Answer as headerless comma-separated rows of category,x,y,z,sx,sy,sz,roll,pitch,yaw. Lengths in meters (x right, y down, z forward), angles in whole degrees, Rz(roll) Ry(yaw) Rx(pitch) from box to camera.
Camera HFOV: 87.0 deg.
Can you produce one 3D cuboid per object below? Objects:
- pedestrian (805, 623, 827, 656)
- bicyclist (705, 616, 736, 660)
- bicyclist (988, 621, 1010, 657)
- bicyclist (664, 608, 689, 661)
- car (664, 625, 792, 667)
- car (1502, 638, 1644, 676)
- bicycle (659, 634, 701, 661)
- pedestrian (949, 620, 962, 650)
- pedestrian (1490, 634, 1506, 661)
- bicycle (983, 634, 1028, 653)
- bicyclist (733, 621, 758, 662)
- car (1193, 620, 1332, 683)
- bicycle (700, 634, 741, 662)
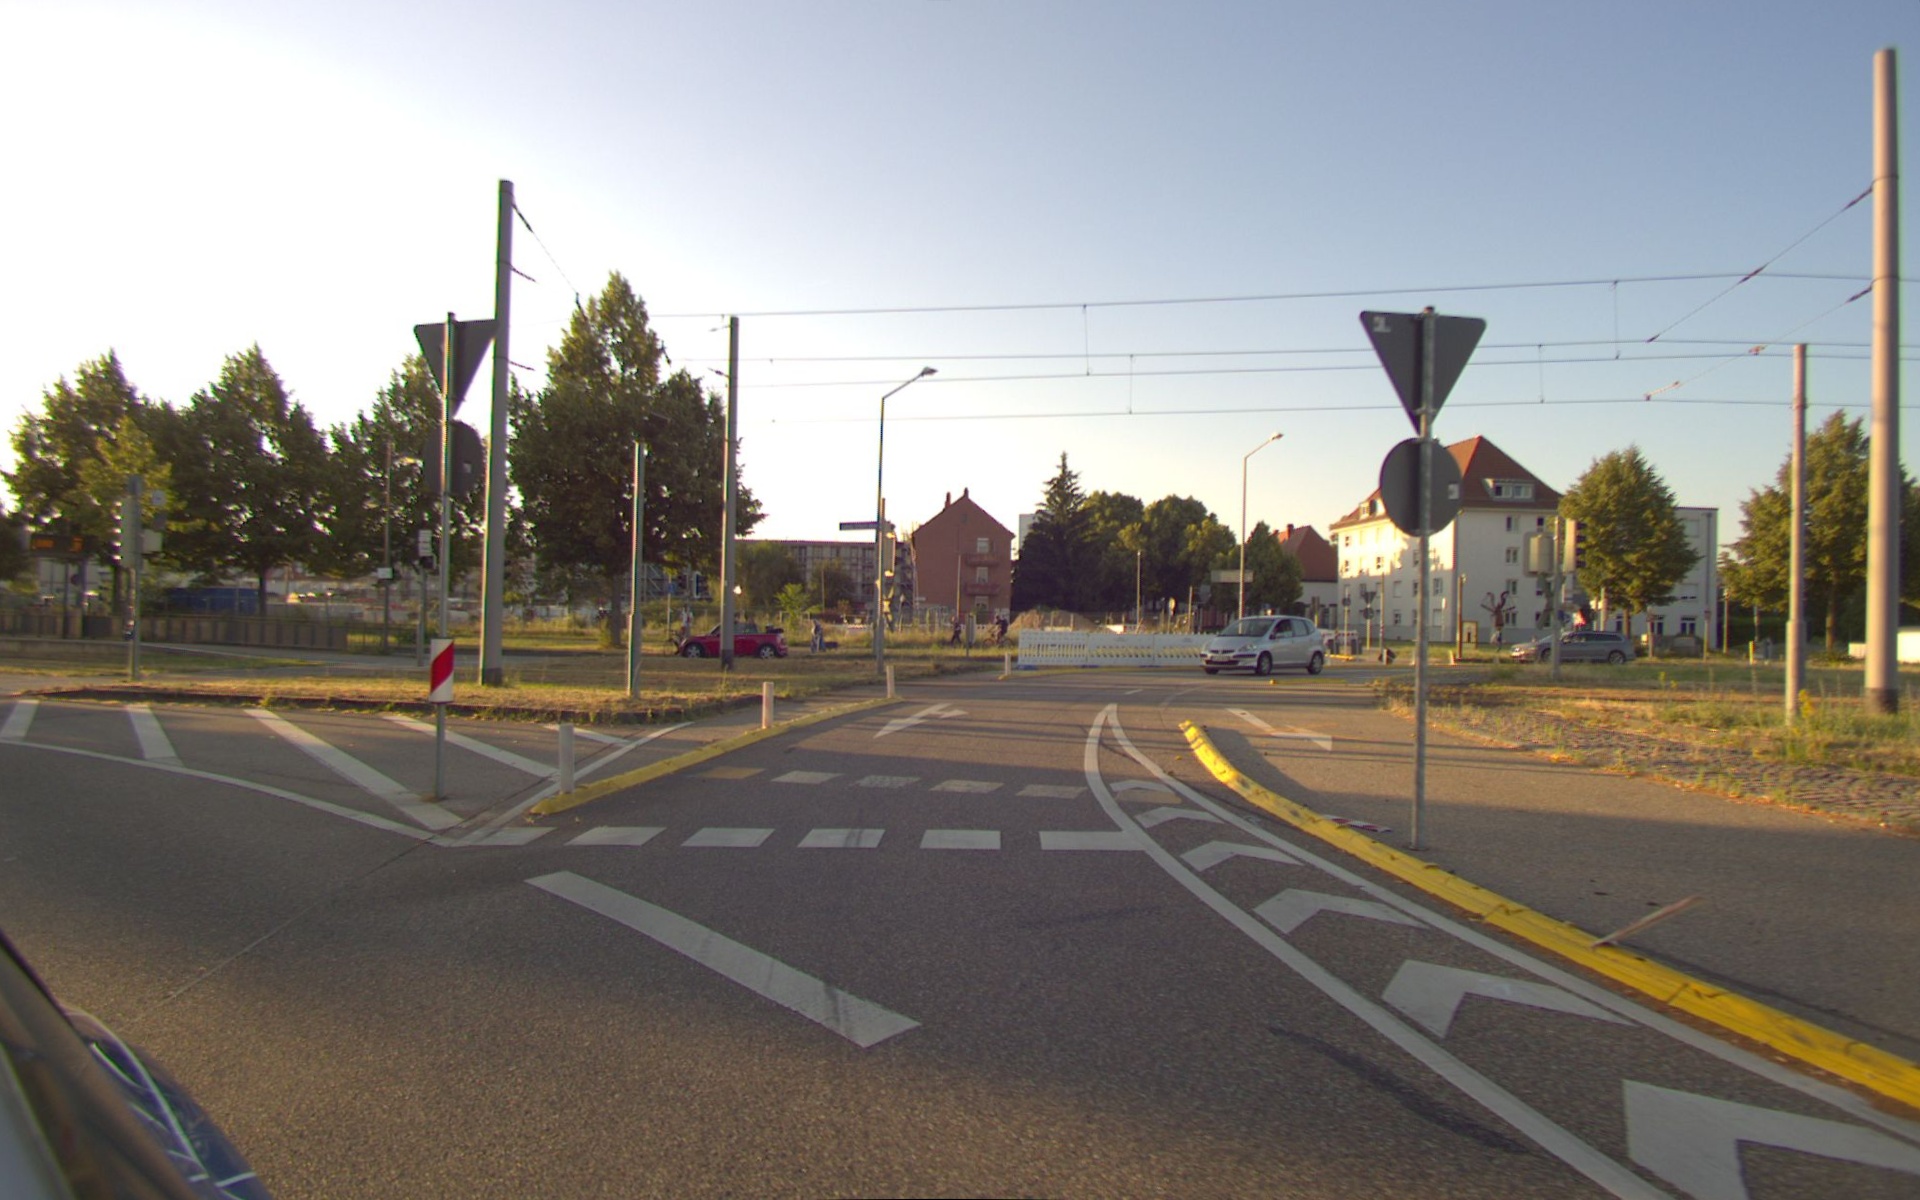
pedestrian,-6.178,1.699,43.402,0.690,1.376,0.615,0,-1,21
bicyclist,-8.992,1.418,37.982,0.809,1.653,0.809,0,-1,21
bicyclist,1.821,1.792,46.857,0.784,1.646,0.698,1,-1,-23
bicyclist,-10.554,1.275,37.687,0.611,1.933,0.673,0,-1,21
car,-7.736,1.533,34.071,3.942,1.342,1.835,0,-1,-2
car,24.957,2.303,41.322,4.588,1.426,1.930,0,-1,2
bicycle,-10.475,1.763,37.877,0.546,0.988,1.831,0,-1,20
pedestrian,-0.208,1.631,47.530,0.495,1.376,0.435,1,-1,-14
pedestrian,33.004,2.899,62.086,0.585,1.633,0.567,0,-1,-7
bicycle,2.112,2.010,47.029,2.098,0.852,0.514,1,-1,-24
bicyclist,-7.926,1.525,37.410,0.588,1.517,0.809,0,-1,20
car,7.665,1.247,25.517,3.651,1.476,1.609,1,-2,-39
bicycle,-8.959,1.789,37.938,0.546,0.988,1.831,0,-1,20
